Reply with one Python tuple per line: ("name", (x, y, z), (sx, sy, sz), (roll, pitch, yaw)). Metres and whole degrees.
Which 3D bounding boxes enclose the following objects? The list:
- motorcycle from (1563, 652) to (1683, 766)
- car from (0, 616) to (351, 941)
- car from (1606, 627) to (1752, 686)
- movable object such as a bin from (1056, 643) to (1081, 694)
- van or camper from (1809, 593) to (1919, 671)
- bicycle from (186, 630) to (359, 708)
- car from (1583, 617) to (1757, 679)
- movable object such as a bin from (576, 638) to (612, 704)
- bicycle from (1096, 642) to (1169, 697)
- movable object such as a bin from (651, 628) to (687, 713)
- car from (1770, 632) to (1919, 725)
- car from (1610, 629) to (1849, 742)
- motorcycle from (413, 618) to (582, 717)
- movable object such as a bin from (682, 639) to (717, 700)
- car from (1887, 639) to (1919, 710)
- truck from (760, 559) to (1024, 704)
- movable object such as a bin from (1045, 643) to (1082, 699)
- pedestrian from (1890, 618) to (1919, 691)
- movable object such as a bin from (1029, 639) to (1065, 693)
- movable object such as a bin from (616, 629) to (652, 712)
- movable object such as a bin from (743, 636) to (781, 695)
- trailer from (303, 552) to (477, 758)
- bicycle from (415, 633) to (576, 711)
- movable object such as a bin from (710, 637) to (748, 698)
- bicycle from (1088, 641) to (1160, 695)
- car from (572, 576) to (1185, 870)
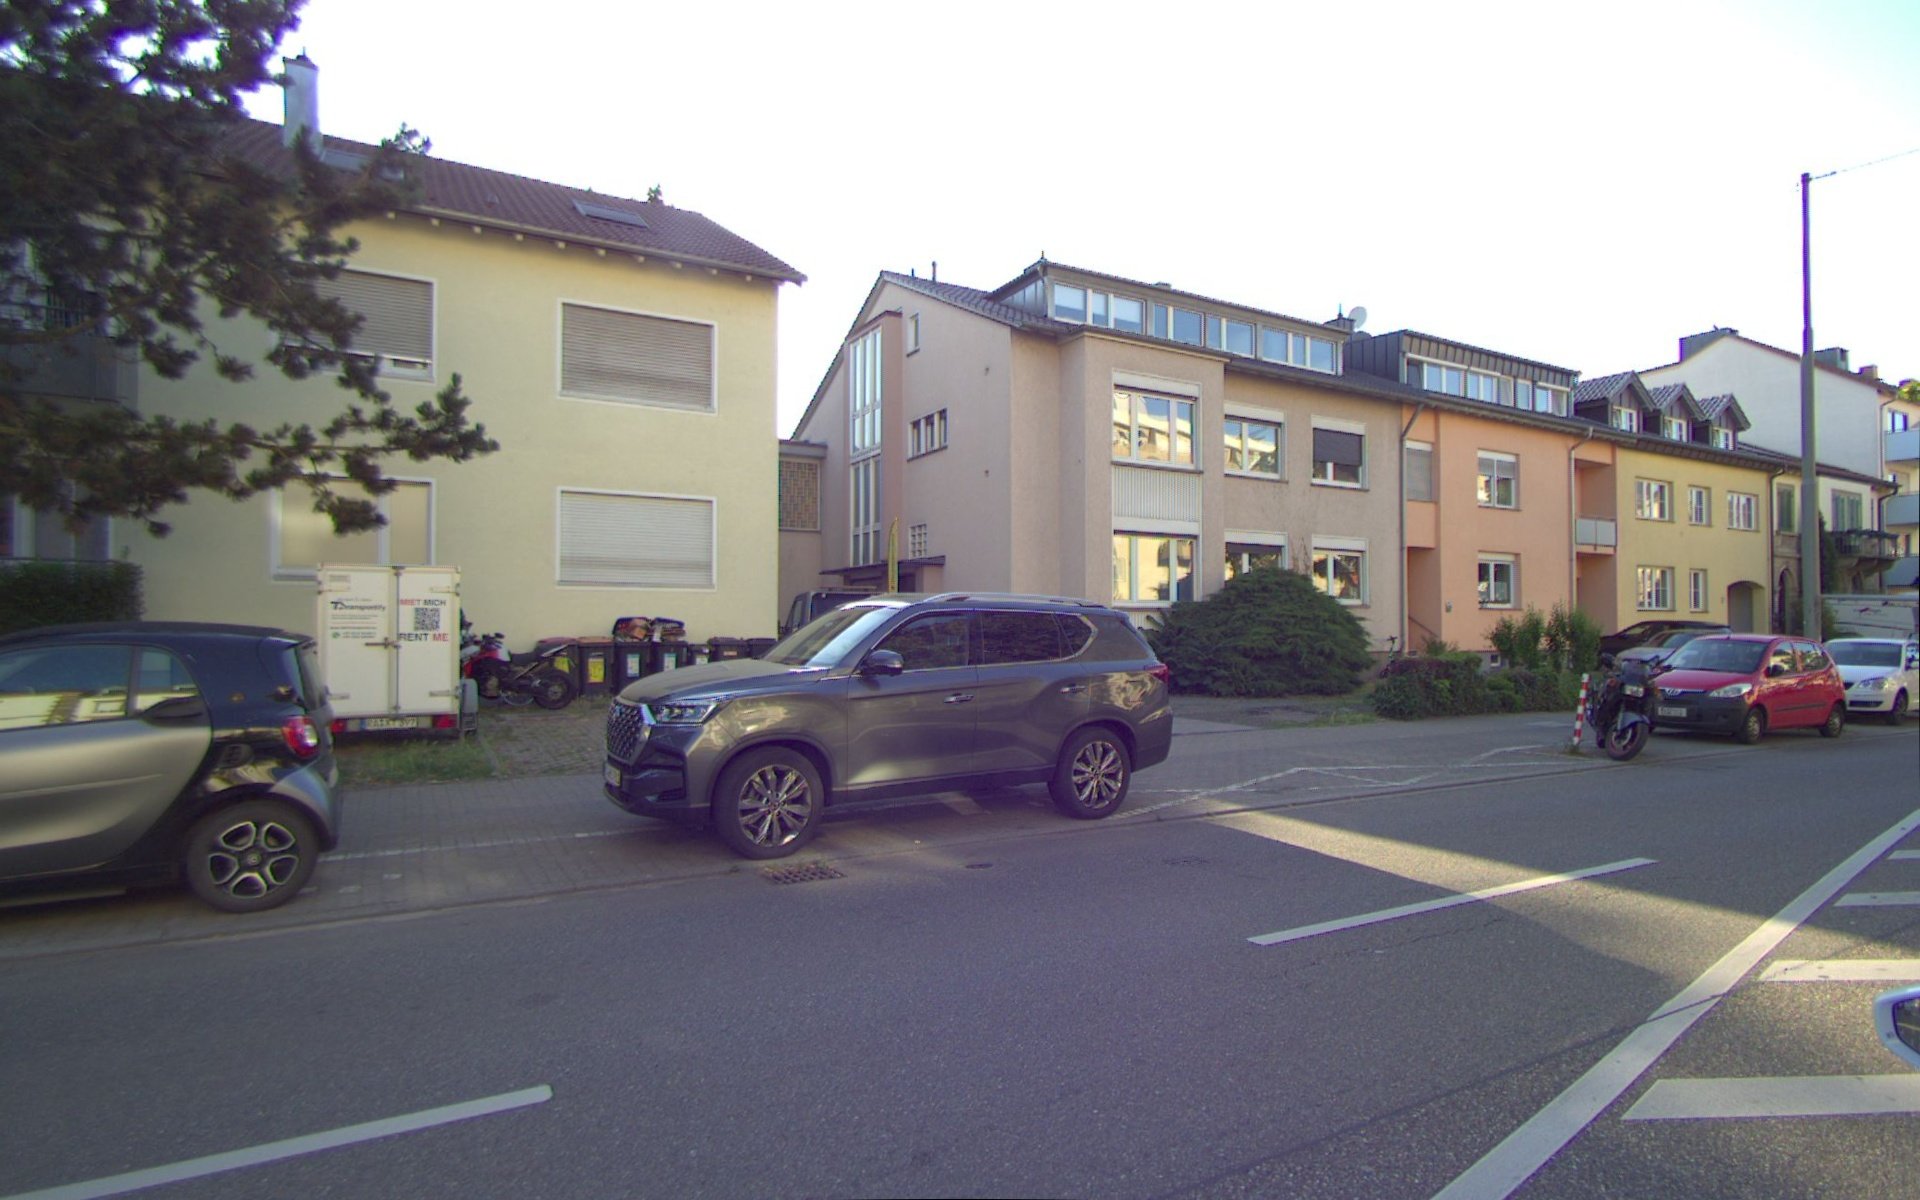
("motorcycle", (8.592, 1.330, 12.963), (1.164, 1.282, 2.362), (-1, -2, 36))
("car", (-5.004, 0.886, 5.596), (2.718, 1.576, 1.565), (1, -2, -31))
("car", (18.748, 1.447, 26.177), (3.706, 1.427, 1.658), (1, -3, -29))
("movable object such as a bin", (2.291, 1.435, 21.158), (0.345, 1.051, 0.433), (1, -2, -30))
("van or camper", (35.858, 1.198, 36.888), (2.324, 2.810, 6.764), (1, 0, -30))
("bicycle", (-9.946, 0.975, 14.627), (2.022, 1.078, 0.516), (1, -2, -31))
("car", (21.807, 1.424, 31.010), (1.843, 1.658, 3.970), (1, 0, -28))
("movable object such as a bin", (-6.027, 1.157, 16.516), (0.480, 1.044, 0.478), (1, -2, -29))
("bicycle", (3.621, 1.434, 20.984), (1.691, 1.100, 0.331), (1, -2, -31))
("movable object such as a bin", (-4.962, 1.182, 17.120), (0.480, 1.420, 0.478), (1, -2, -29))
("car", (16.759, 1.375, 18.560), (3.846, 1.543, 1.585), (1, -2, -31))
("car", (11.656, 1.215, 15.209), (3.392, 1.543, 1.587), (1, -2, -27))
("motorcycle", (-6.864, 0.984, 14.969), (2.232, 1.392, 0.568), (1, -2, -31))
("movable object such as a bin", (-4.506, 1.191, 17.380), (0.480, 1.044, 0.478), (1, -2, -29))
("car", (20.902, 1.519, 20.800), (3.623, 1.415, 1.536), (1, -2, -30))
("truck", (-1.604, 0.586, 18.905), (2.249, 2.214, 6.864), (1, -2, -29))
("movable object such as a bin", (2.114, 1.435, 20.454), (0.579, 1.105, 0.486), (1, -2, -30))
("pedestrian", (24.002, 1.377, 25.302), (0.499, 1.816, 0.711), (1, -2, -27))
("movable object such as a bin", (1.818, 1.368, 20.924), (0.579, 1.105, 0.486), (1, -2, -30))
("movable object such as a bin", (-5.471, 1.169, 16.834), (0.480, 1.376, 0.478), (1, -2, -29))
("movable object such as a bin", (-3.568, 1.171, 18.064), (0.543, 1.044, 0.478), (1, -2, -29))
("trailer", (-6.553, 0.591, 11.526), (1.535, 2.040, 2.758), (1, -2, -32))
("bicycle", (-7.219, 1.092, 15.664), (2.232, 1.156, 0.568), (1, -1, -31))
("movable object such as a bin", (-4.079, 1.186, 17.741), (0.531, 1.044, 0.478), (1, -2, -29))
("bicycle", (3.481, 1.432, 21.312), (1.691, 1.100, 0.331), (1, -2, -31))
("car", (-0.529, 0.818, 8.206), (4.673, 1.802, 1.877), (1, -2, -32))
